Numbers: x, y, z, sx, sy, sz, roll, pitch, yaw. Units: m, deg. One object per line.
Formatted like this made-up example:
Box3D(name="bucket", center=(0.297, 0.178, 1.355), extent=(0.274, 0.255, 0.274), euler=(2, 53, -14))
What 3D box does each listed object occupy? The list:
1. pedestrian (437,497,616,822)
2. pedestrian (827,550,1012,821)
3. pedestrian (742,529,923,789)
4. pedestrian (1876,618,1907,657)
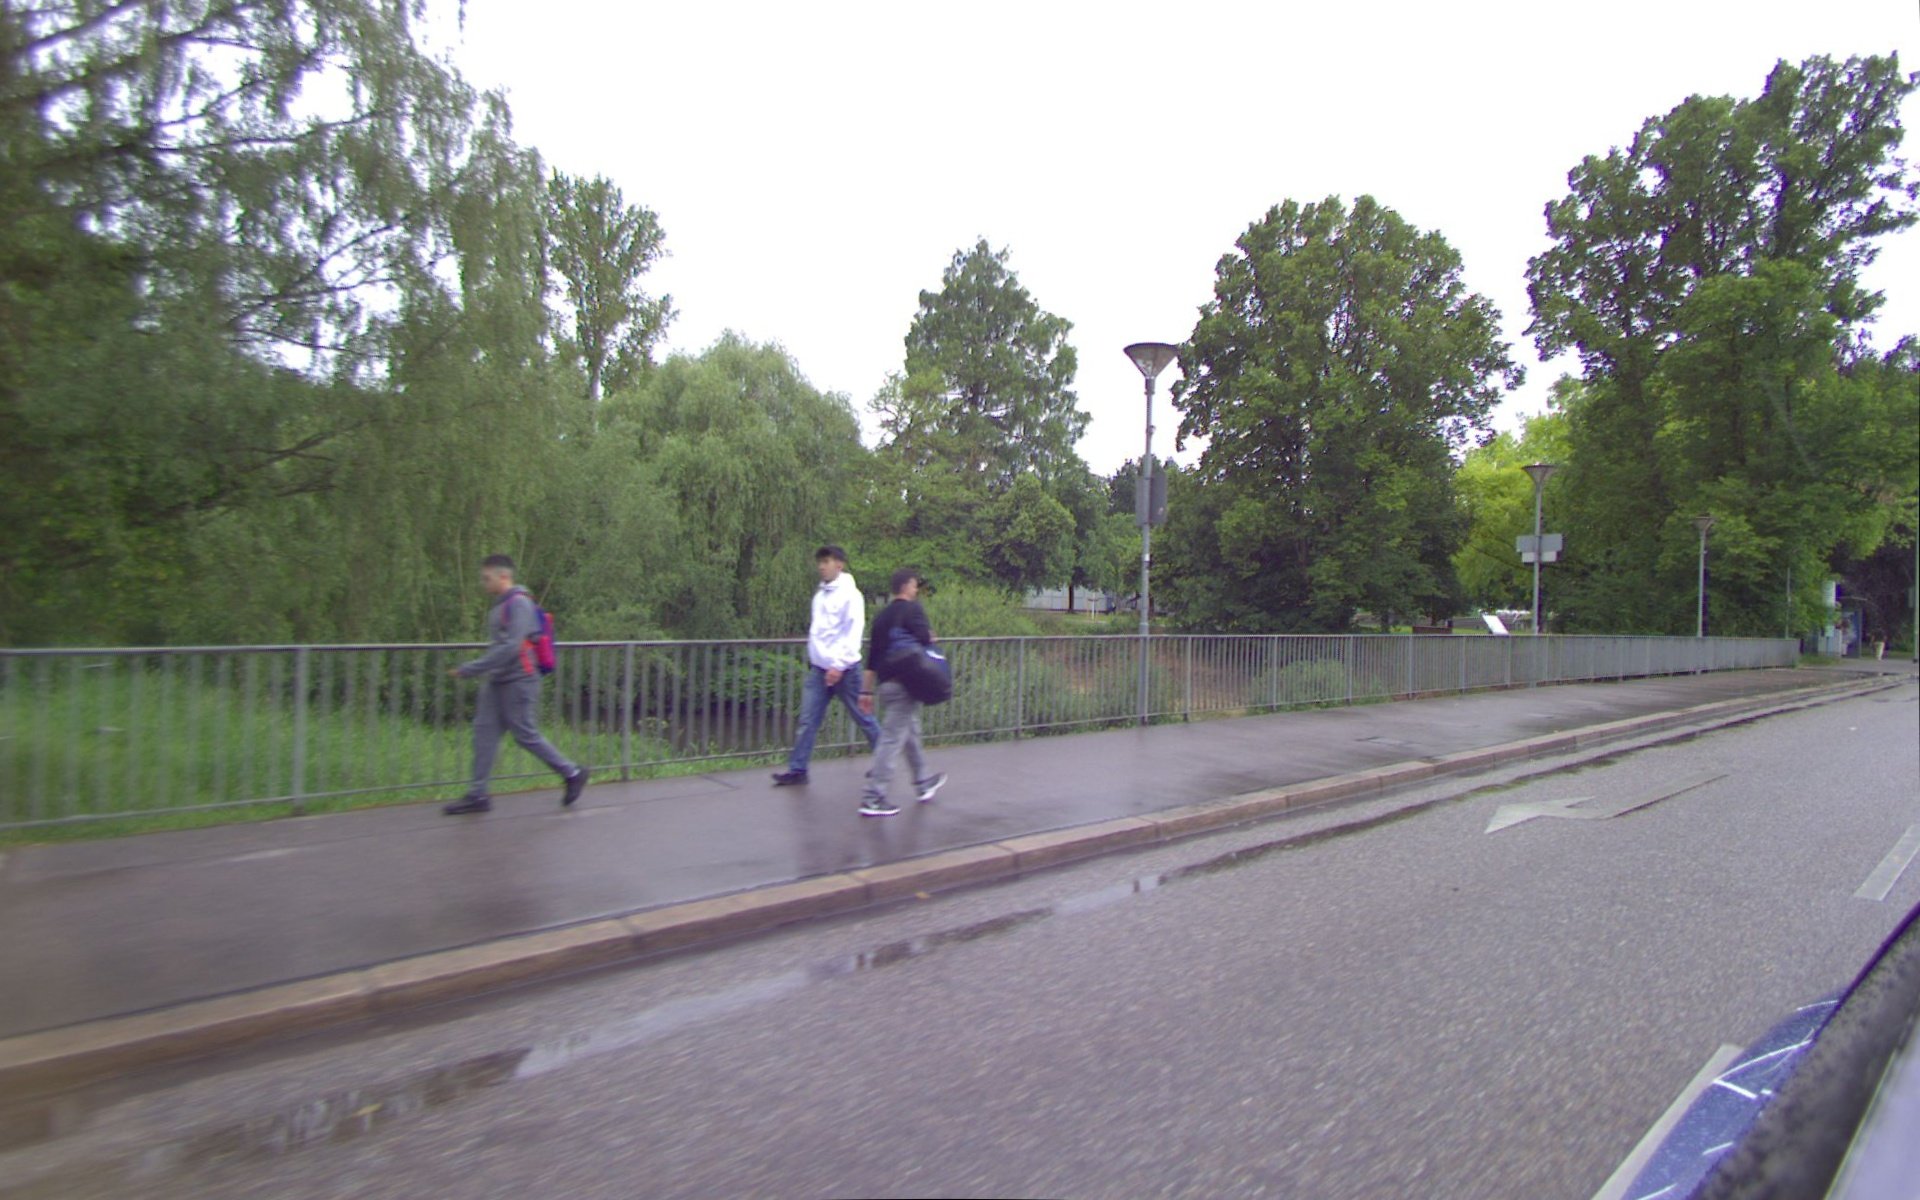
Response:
Box3D(name="pedestrian", center=(-2.675, 0.329, 6.238), extent=(0.767, 1.831, 0.762), euler=(2, 0, -41))
Box3D(name="pedestrian", center=(-0.274, 0.509, 6.723), extent=(0.825, 1.639, 0.864), euler=(1, 1, -41))
Box3D(name="pedestrian", center=(-0.945, 0.402, 7.547), extent=(1.042, 1.774, 0.781), euler=(1, 0, -42))
Box3D(name="pedestrian", center=(42.898, 1.702, 46.590), extent=(1.147, 1.696, 0.849), euler=(1, 2, -42))
